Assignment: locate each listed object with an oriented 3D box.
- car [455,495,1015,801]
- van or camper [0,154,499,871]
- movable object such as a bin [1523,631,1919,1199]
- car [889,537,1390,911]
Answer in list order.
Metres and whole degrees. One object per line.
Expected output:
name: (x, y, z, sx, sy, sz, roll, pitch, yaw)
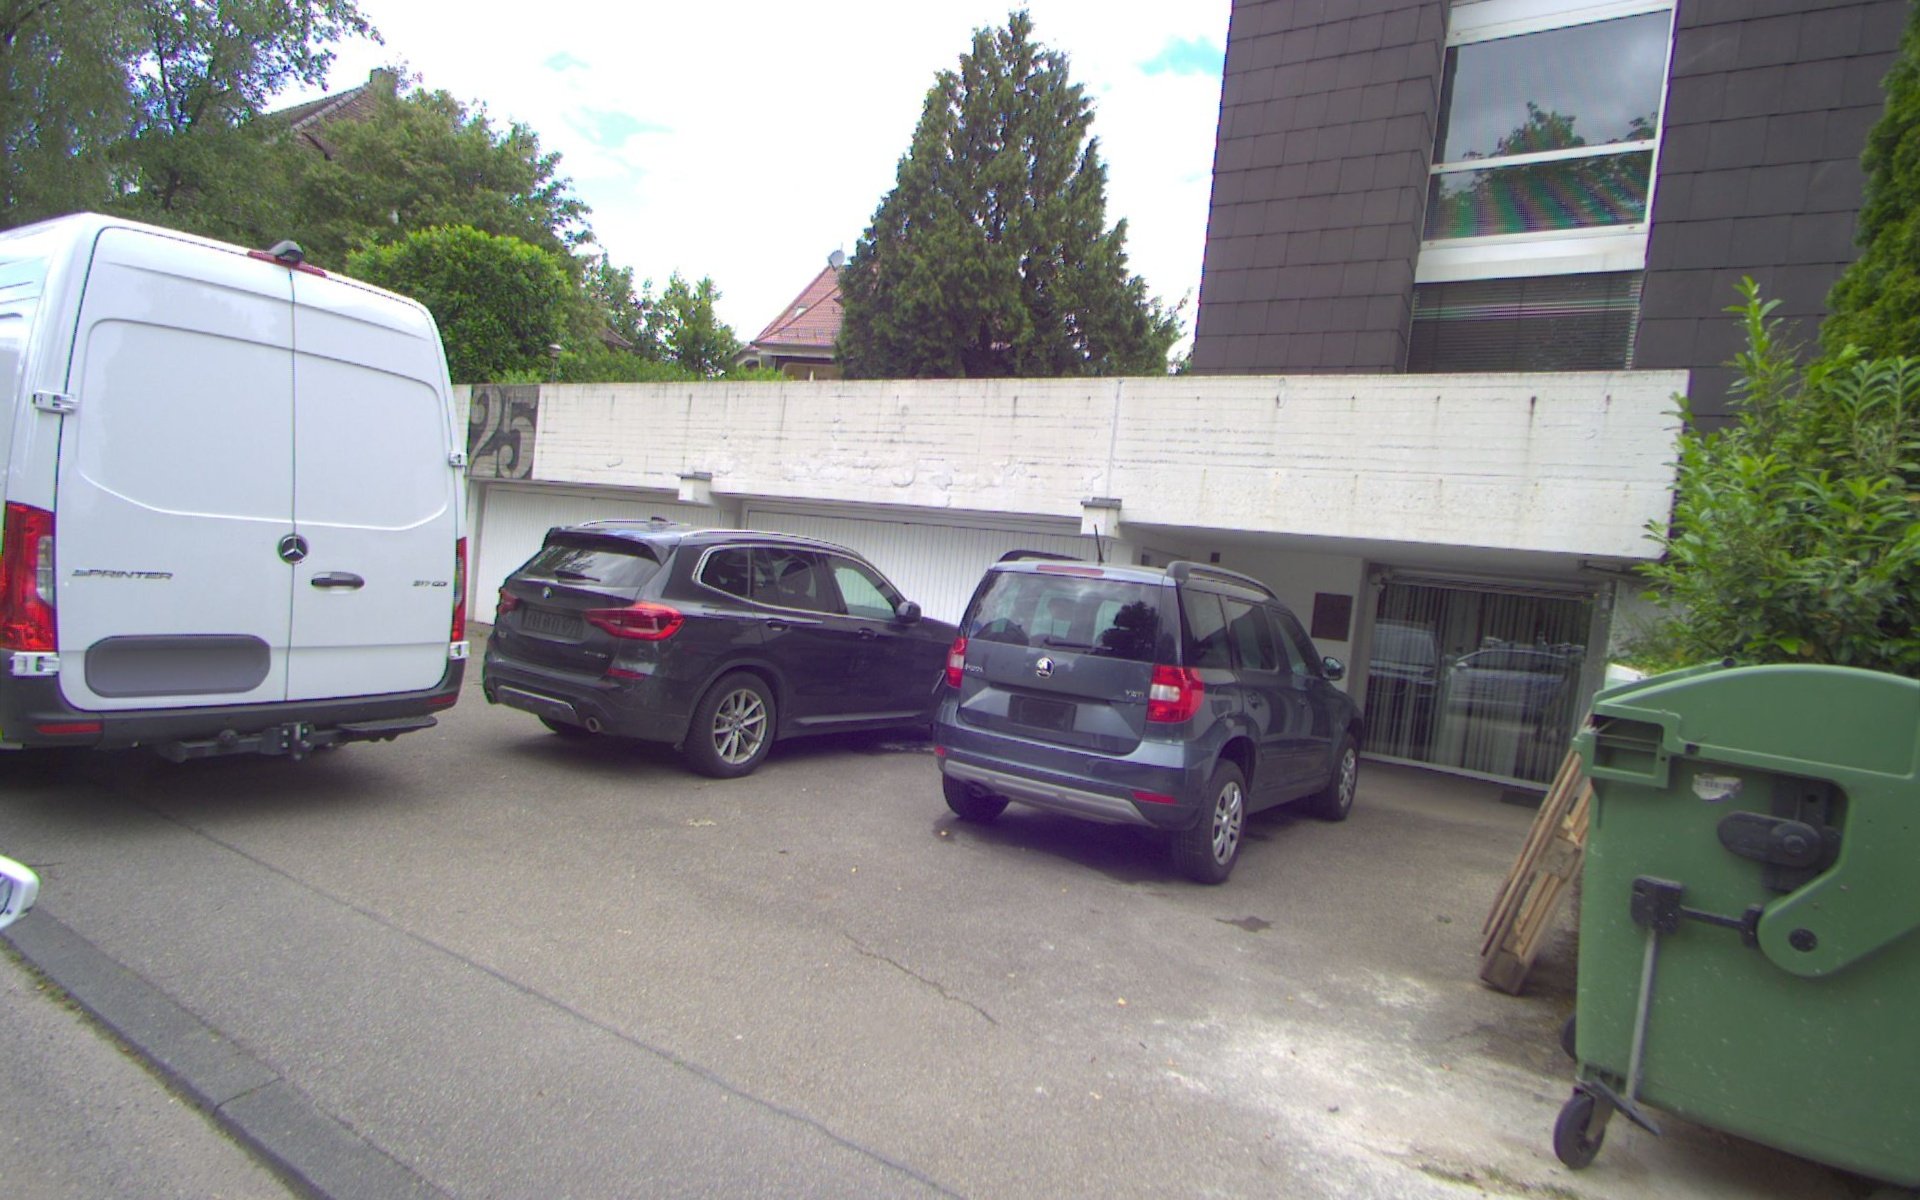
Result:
car: (-1.411, 0.323, 8.032, 1.668, 1.696, 4.383, 6, 1, 32)
van or camper: (-5.778, -0.580, 6.276, 6.436, 2.662, 1.990, 6, 4, 32)
movable object such as a bin: (2.403, 0.901, 2.972, 1.098, 1.469, 1.405, 6, 1, 32)
car: (1.479, 0.644, 6.792, 1.717, 1.673, 3.899, 6, 1, 35)
